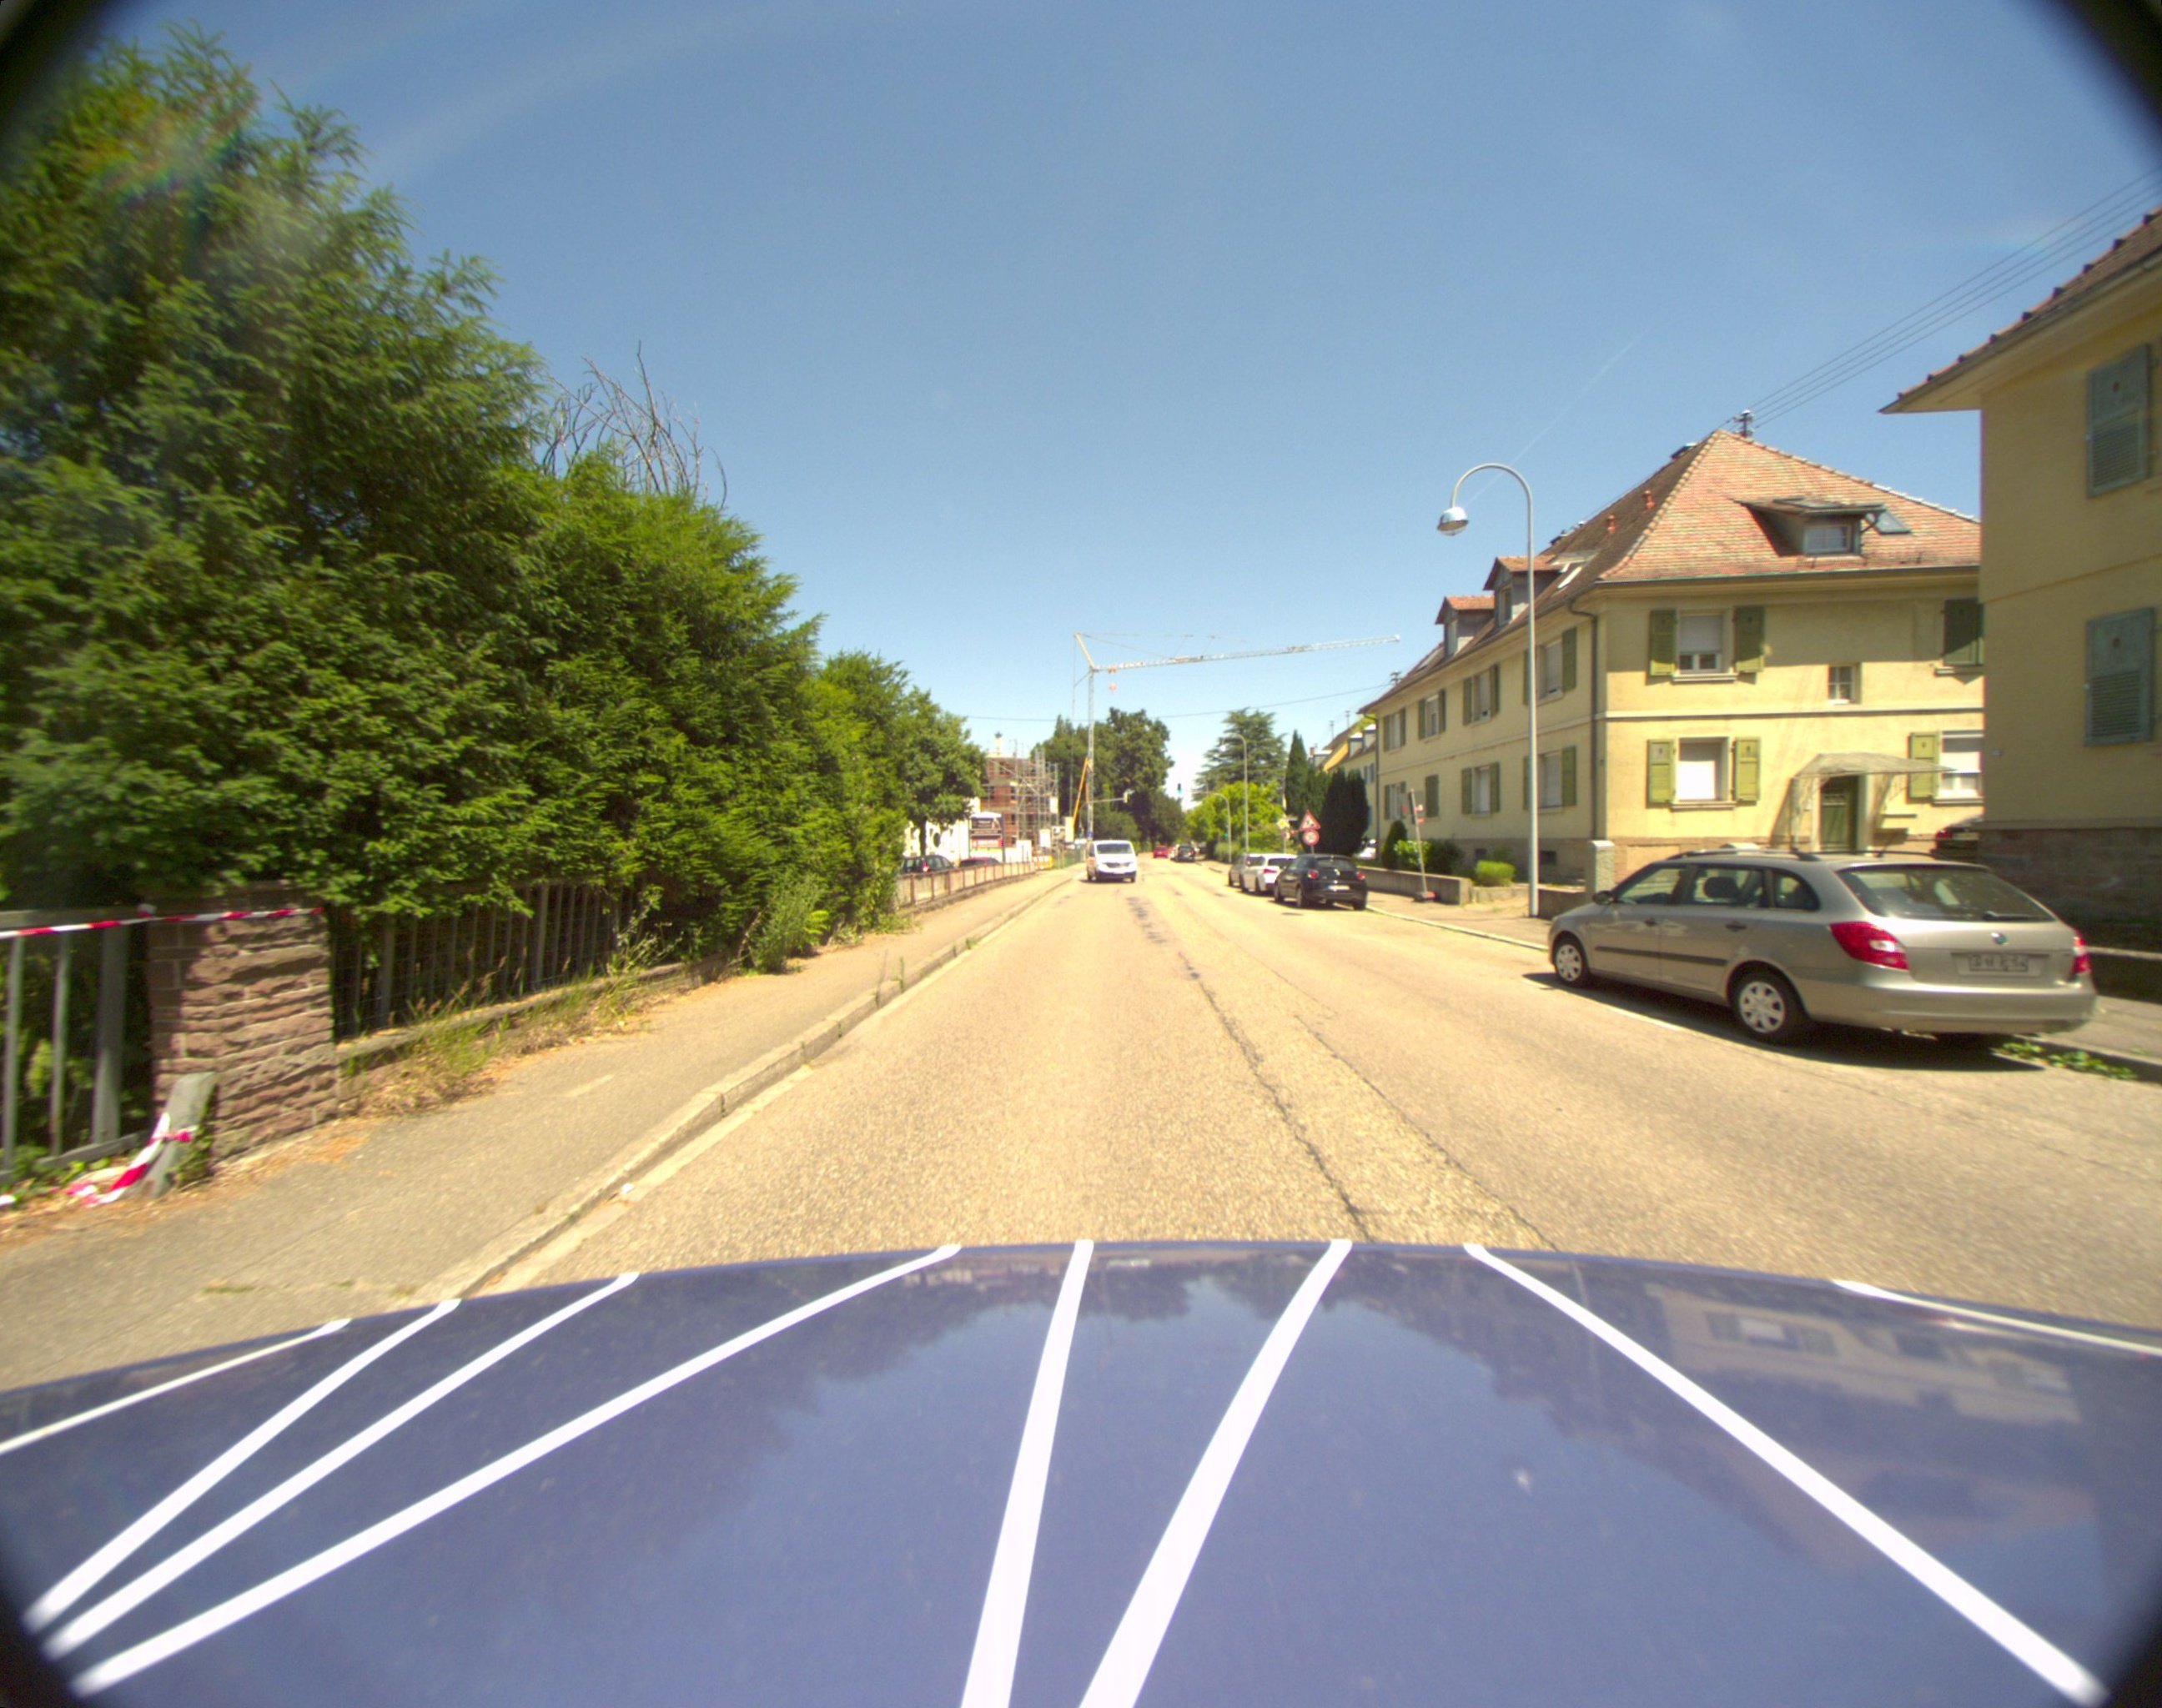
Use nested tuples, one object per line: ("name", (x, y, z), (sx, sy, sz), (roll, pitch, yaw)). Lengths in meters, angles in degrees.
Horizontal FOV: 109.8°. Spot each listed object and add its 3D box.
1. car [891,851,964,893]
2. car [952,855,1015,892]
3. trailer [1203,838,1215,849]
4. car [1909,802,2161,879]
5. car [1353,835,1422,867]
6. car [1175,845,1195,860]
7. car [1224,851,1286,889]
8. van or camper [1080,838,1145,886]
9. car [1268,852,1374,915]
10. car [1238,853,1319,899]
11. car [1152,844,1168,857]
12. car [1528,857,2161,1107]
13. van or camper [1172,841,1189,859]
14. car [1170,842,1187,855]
("car", (-6.990, 0.788, 35.029), (1.715, 1.656, 4.462), (-3, 1, 10))
("car", (-4.388, 0.865, 34.784), (1.714, 1.515, 3.842), (-1, 1, 10))
("trailer", (22.580, -1.873, 134.090), (1.816, 2.022, 4.004), (2, 2, 14))
("car", (20.506, -0.289, 16.283), (3.705, 1.455, 1.665), (-2, 1, 0))
("car", (17.136, -0.159, 42.607), (3.208, 1.448, 1.735), (-5, 2, 10))
("car", (10.192, -0.148, 74.694), (1.684, 1.404, 3.927), (1, 1, 5))
("car", (7.142, 0.611, 31.518), (1.763, 1.439, 3.924), (0, 1, 2))
("van or camper", (1.415, 0.288, 36.768), (2.000, 1.968, 5.356), (-4, 2, -9))
("car", (6.556, 0.738, 21.213), (1.720, 1.477, 4.076), (1, 1, 1))
("car", (6.732, 0.708, 26.376), (1.799, 1.394, 4.218), (0, 1, 1))
("car", (10.007, -0.453, 95.979), (1.818, 1.557, 3.696), (0, 1, 3))
("car", (6.099, 0.829, 6.903), (1.691, 1.516, 4.062), (1, 1, 1))
("van or camper", (10.435, -0.460, 79.630), (1.684, 1.794, 3.986), (1, 1, 7))
("car", (11.000, -0.634, 85.443), (1.684, 1.433, 4.249), (1, 1, 9))
